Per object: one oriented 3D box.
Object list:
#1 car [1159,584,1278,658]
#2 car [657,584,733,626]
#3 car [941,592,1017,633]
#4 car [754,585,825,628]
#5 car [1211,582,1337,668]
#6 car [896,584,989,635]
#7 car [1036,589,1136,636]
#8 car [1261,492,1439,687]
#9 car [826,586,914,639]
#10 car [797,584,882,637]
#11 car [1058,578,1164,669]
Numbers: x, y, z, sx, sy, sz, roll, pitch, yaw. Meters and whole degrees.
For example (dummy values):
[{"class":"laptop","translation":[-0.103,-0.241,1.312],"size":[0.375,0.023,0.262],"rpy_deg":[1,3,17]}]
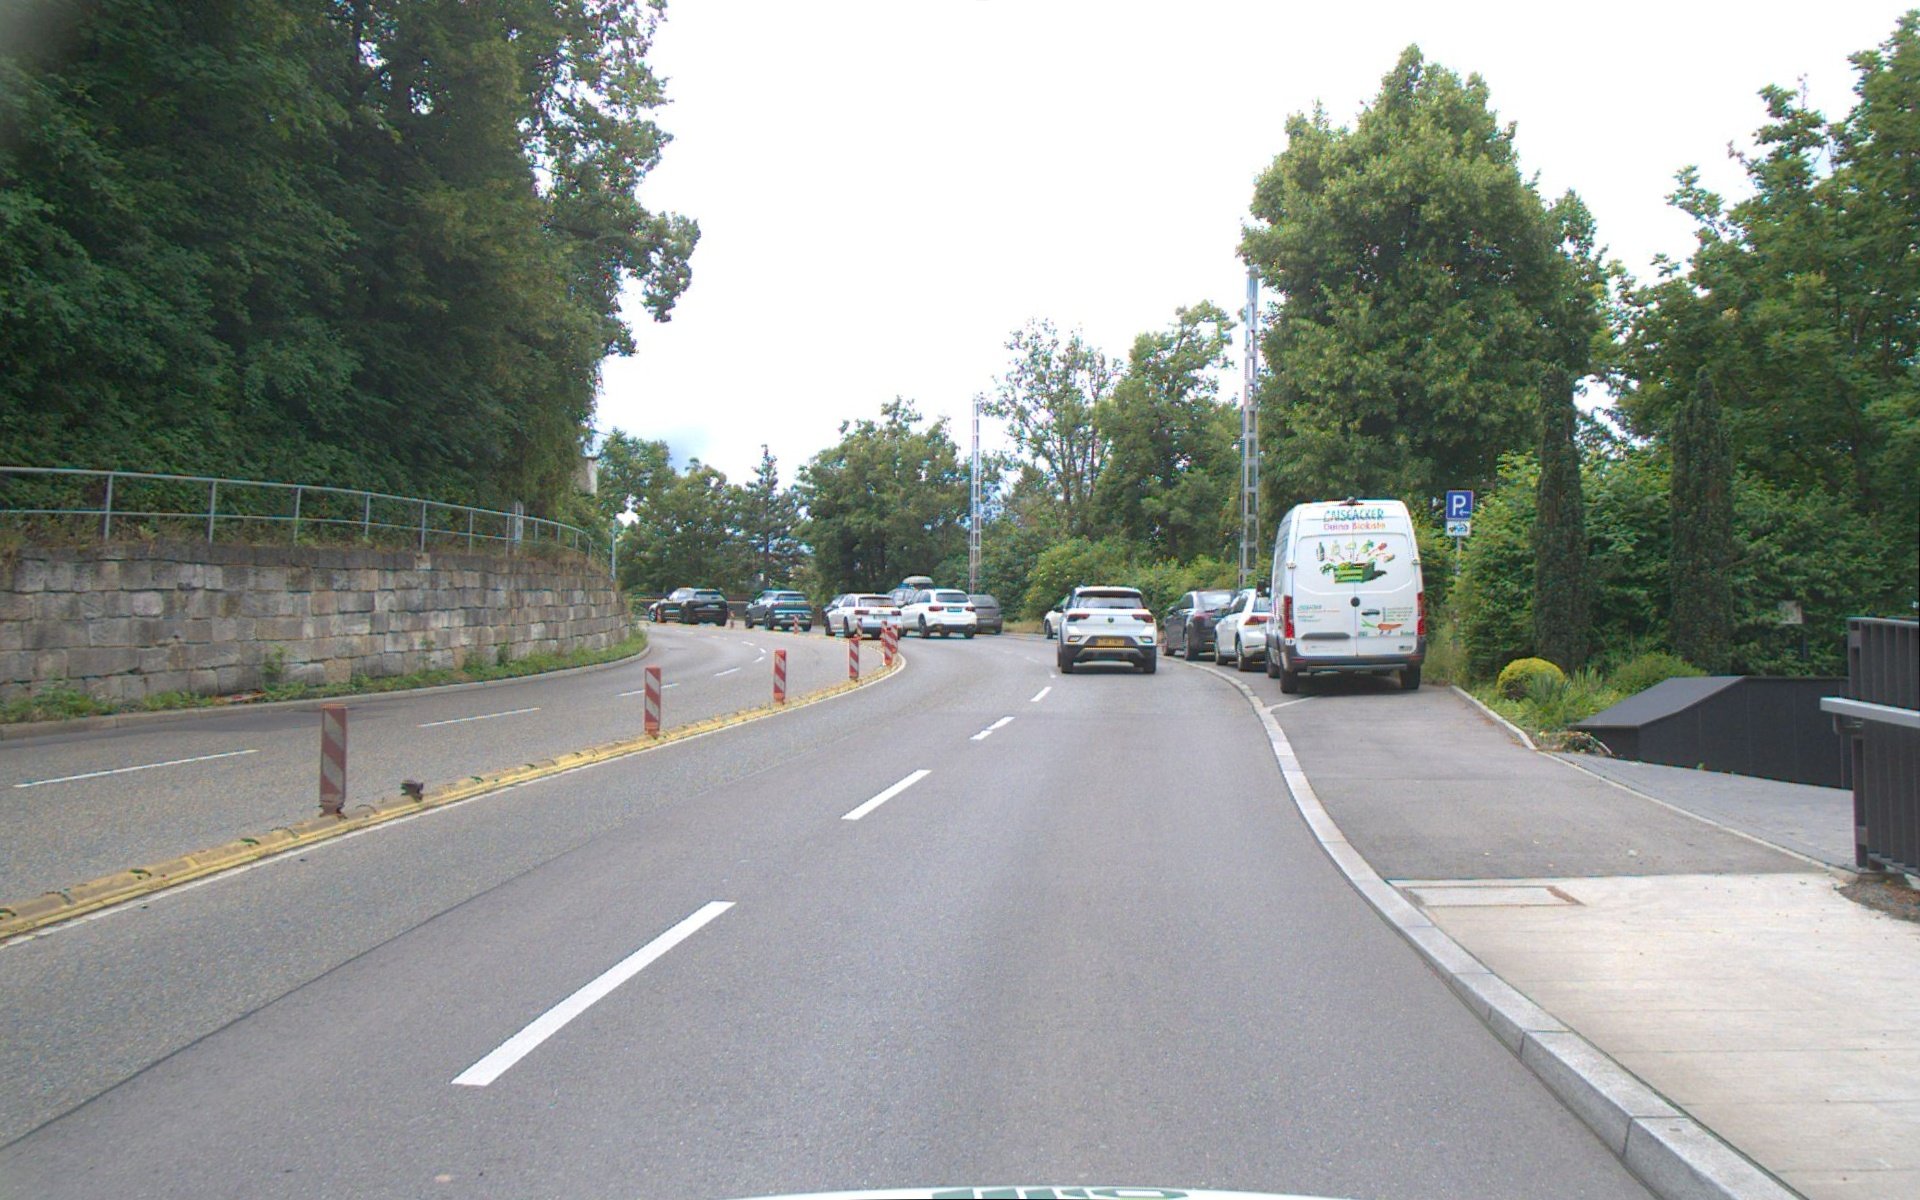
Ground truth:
[{"class":"car","translation":[5.521,0.427,35.859],"size":[1.666,1.489,4.661],"rpy_deg":[0,0,-2]},{"class":"car","translation":[-12.001,0.201,74.701],"size":[1.800,1.719,3.951],"rpy_deg":[4,-2,-35]},{"class":"car","translation":[0.698,0.469,63.240],"size":[1.617,1.490,3.976],"rpy_deg":[2,-1,-20]},{"class":"car","translation":[-6.819,0.255,65.820],"size":[1.963,1.568,3.989],"rpy_deg":[3,-1,-18]},{"class":"car","translation":[5.785,0.440,30.845],"size":[1.665,1.490,3.835],"rpy_deg":[0,0,1]},{"class":"car","translation":[-0.638,0.325,56.795],"size":[1.964,1.614,3.977],"rpy_deg":[3,-1,-19]},{"class":"car","translation":[3.949,0.383,52.554],"size":[1.750,1.443,3.978],"rpy_deg":[-1,0,-19]},{"class":"car","translation":[5.754,-0.134,25.103],"size":[2.040,2.567,5.849],"rpy_deg":[-1,0,8]},{"class":"car","translation":[-3.012,0.409,54.592],"size":[1.877,1.601,3.980],"rpy_deg":[3,-1,-18]},{"class":"car","translation":[-4.431,0.366,60.282],"size":[1.965,1.769,3.976],"rpy_deg":[3,-1,-20]},{"class":"car","translation":[2.833,0.430,31.156],"size":[1.828,1.563,3.805],"rpy_deg":[1,0,5]}]
